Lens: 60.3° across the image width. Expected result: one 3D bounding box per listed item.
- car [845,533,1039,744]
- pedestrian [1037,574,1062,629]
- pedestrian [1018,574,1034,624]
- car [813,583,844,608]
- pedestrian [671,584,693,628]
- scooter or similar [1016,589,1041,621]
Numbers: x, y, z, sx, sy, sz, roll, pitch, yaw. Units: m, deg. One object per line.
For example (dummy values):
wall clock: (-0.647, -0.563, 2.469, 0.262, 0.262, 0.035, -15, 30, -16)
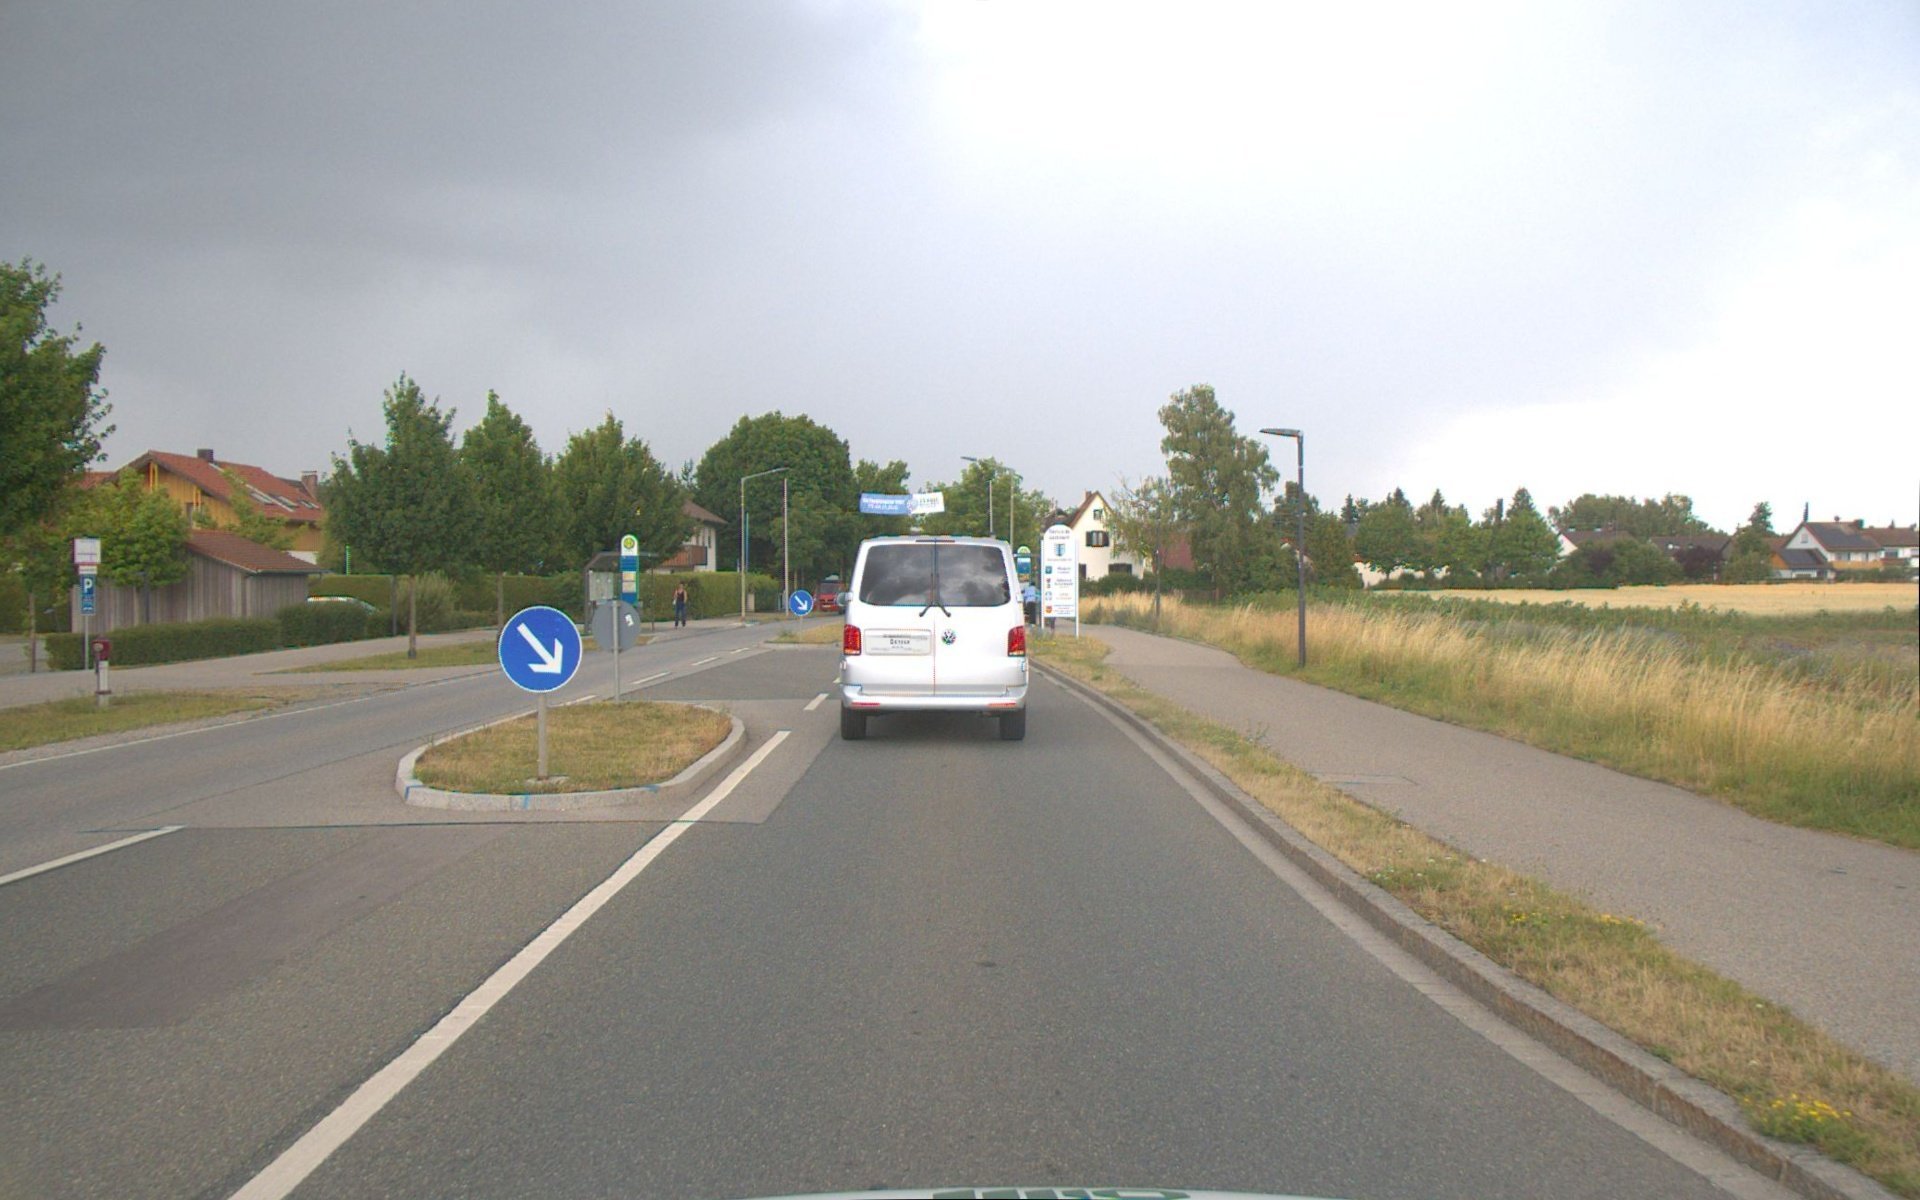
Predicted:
car: (-0.241, 0.329, 17.320, 1.789, 1.947, 3.999, 0, 1, -2)
pedestrian: (2.933, 0.051, 54.173, 0.480, 1.762, 0.636, -2, 1, -28)
pedestrian: (2.349, -0.030, 58.991, 0.475, 1.762, 0.642, -2, 1, -1)
car: (-7.999, -0.289, 100.946, 1.620, 1.454, 3.602, -2, 1, -1)
pedestrian: (-9.954, 0.214, 59.302, 0.611, 1.551, 0.679, -2, 1, -1)
scooter or similar: (2.479, 0.168, 59.986, 0.831, 1.123, 1.094, -2, 1, 0)
